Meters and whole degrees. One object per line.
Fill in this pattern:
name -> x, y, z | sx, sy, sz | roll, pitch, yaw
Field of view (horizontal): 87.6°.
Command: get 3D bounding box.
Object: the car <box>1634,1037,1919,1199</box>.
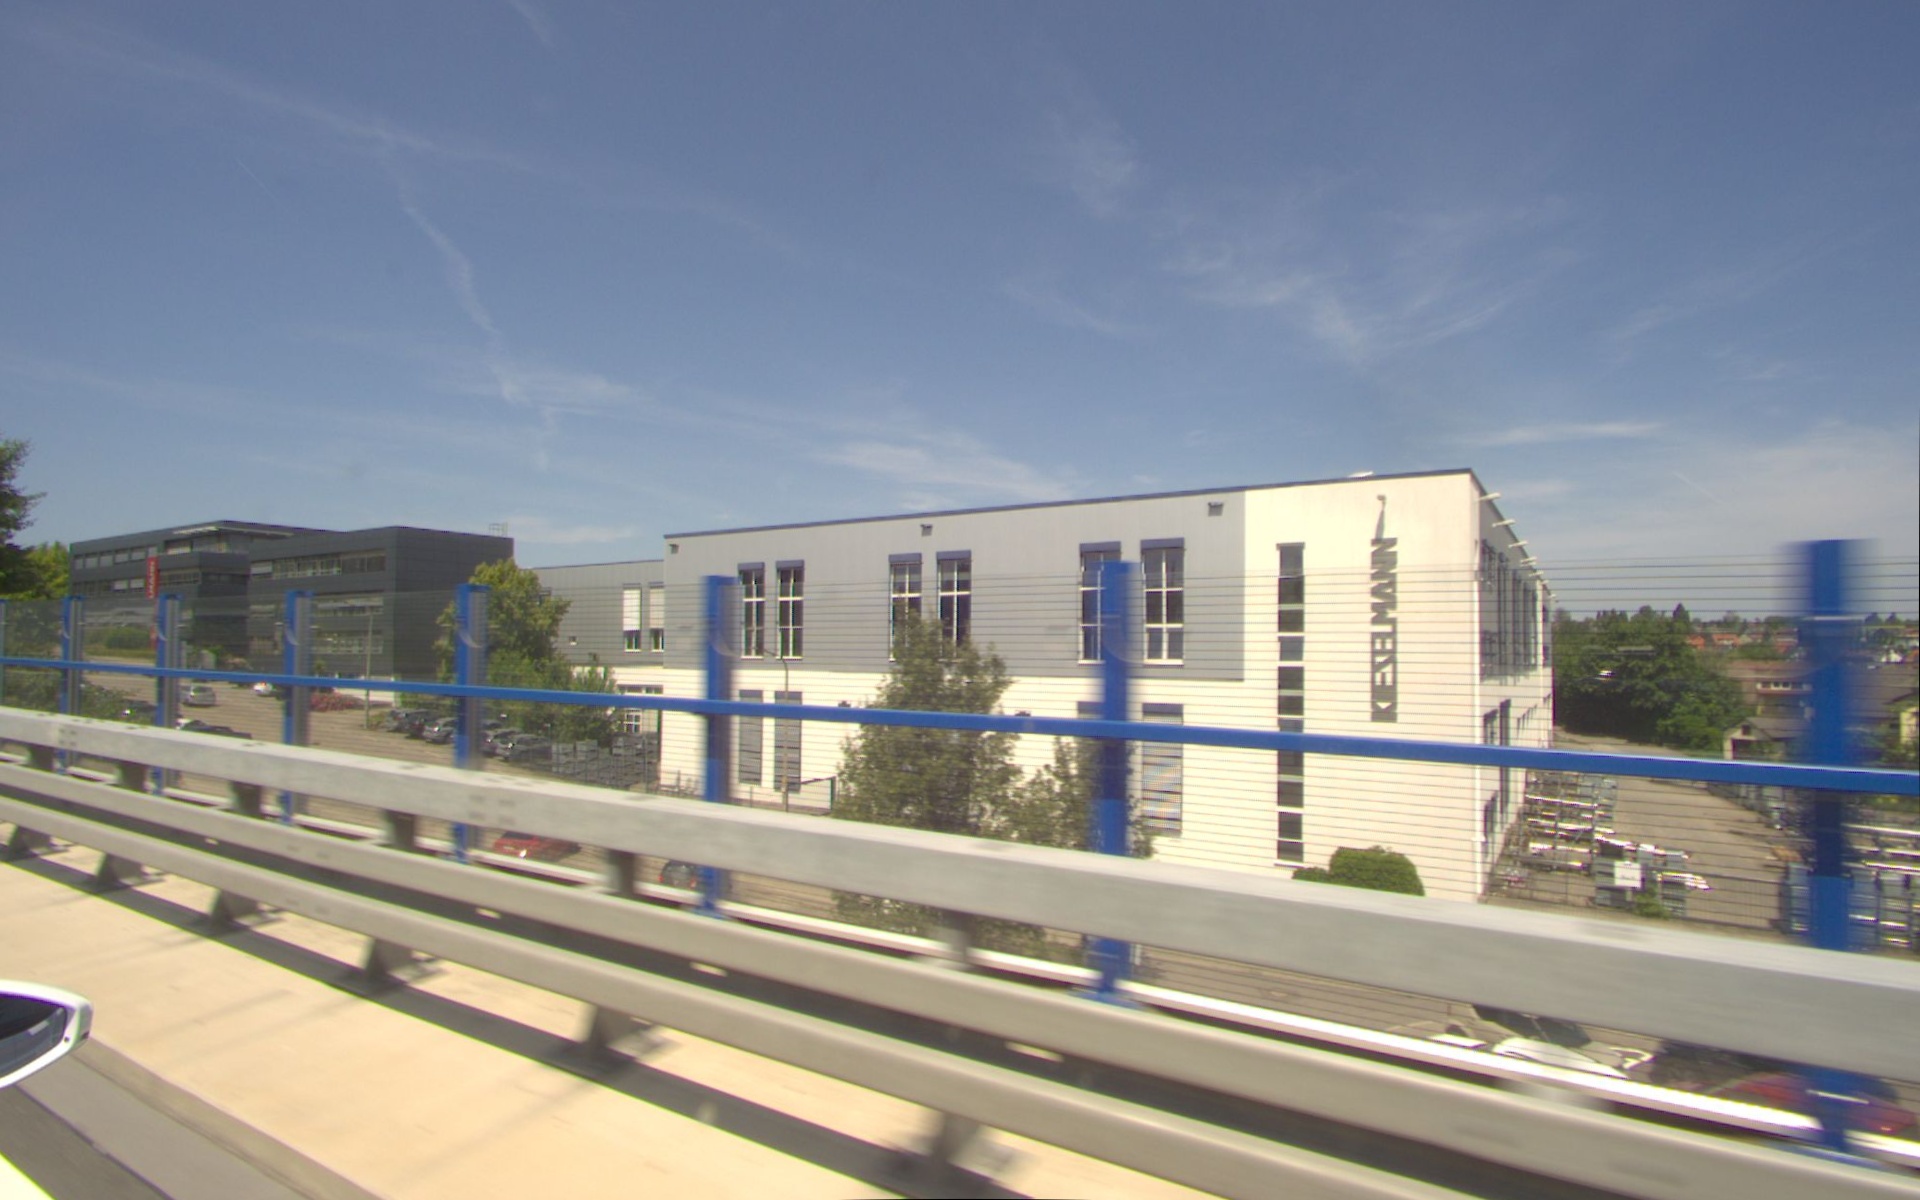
car -> 14.981, 9.404, 18.415 | 1.703, 1.381, 3.990 | 7, -9, -25

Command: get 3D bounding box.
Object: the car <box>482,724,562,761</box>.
car -> -26.416, 8.570, 60.507 | 1.883, 1.593, 4.032 | 4, 0, 31

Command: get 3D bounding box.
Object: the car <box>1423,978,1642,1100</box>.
car -> 12.788, 9.782, 22.614 | 1.706, 1.381, 3.982 | 8, -9, -31

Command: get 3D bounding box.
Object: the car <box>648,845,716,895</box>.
car -> -9.722, 9.454, 35.268 | 1.483, 1.160, 3.690 | 4, -8, -3

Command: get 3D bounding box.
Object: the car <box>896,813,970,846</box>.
car -> -1.176, 10.360, 45.352 | 1.491, 1.160, 3.669 | -1, -9, 34

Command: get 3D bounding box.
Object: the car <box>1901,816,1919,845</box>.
car -> 56.315, 13.418, 57.807 | 1.794, 1.584, 3.996 | 0, -9, 27

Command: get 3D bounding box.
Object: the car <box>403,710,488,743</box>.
car -> -33.015, 8.110, 64.405 | 1.793, 1.593, 4.566 | 4, 0, 31

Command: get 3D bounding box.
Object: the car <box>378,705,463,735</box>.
car -> -35.463, 7.872, 65.954 | 1.793, 1.592, 4.569 | 4, -2, 31

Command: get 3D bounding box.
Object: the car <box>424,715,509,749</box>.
car -> -31.037, 8.273, 63.096 | 1.793, 1.593, 4.566 | 4, 0, 31
